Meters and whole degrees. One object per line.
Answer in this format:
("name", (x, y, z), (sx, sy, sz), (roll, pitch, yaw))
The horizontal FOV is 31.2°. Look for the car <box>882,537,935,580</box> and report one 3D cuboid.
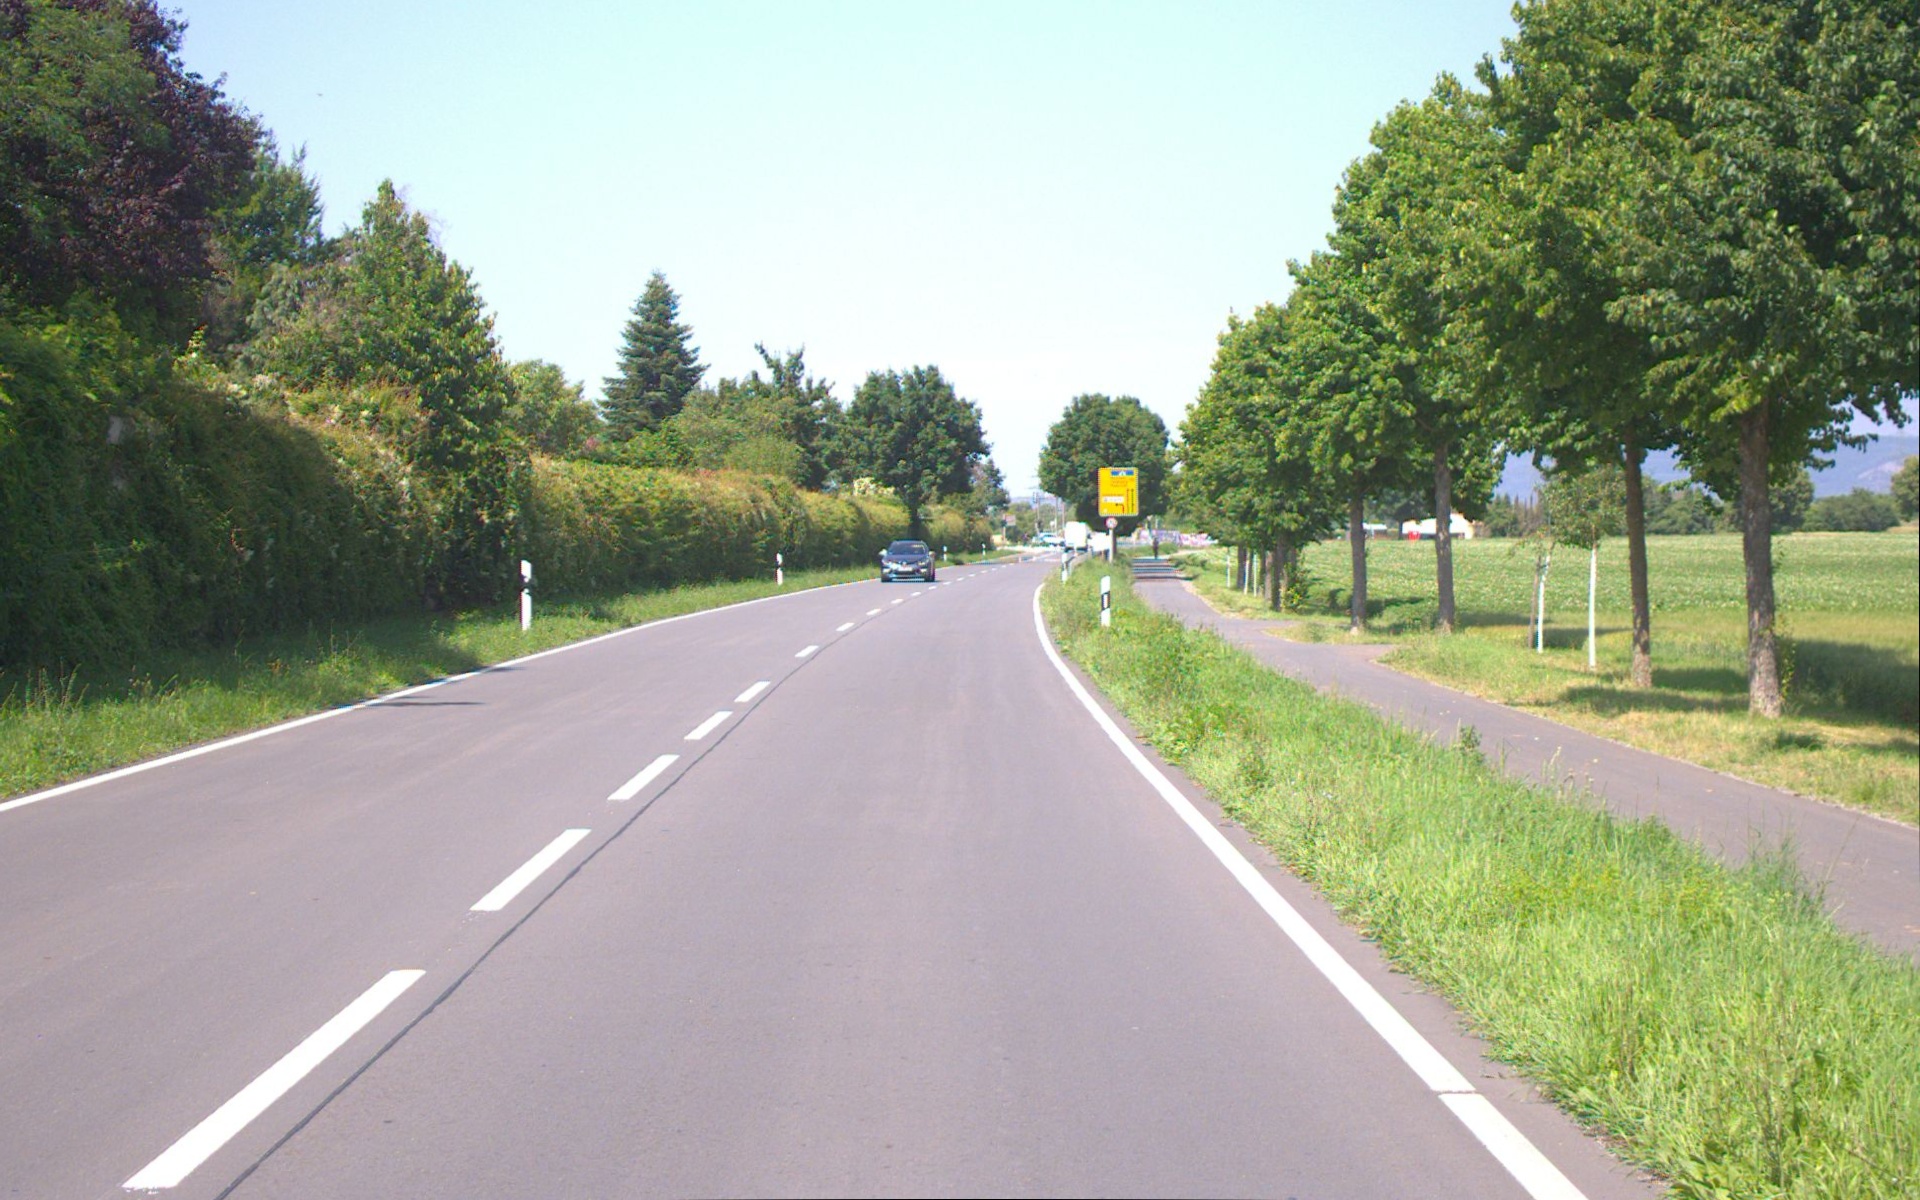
("car", (-1.836, -1.493, 122.992), (1.840, 1.462, 3.933), (0, 1, -1))
